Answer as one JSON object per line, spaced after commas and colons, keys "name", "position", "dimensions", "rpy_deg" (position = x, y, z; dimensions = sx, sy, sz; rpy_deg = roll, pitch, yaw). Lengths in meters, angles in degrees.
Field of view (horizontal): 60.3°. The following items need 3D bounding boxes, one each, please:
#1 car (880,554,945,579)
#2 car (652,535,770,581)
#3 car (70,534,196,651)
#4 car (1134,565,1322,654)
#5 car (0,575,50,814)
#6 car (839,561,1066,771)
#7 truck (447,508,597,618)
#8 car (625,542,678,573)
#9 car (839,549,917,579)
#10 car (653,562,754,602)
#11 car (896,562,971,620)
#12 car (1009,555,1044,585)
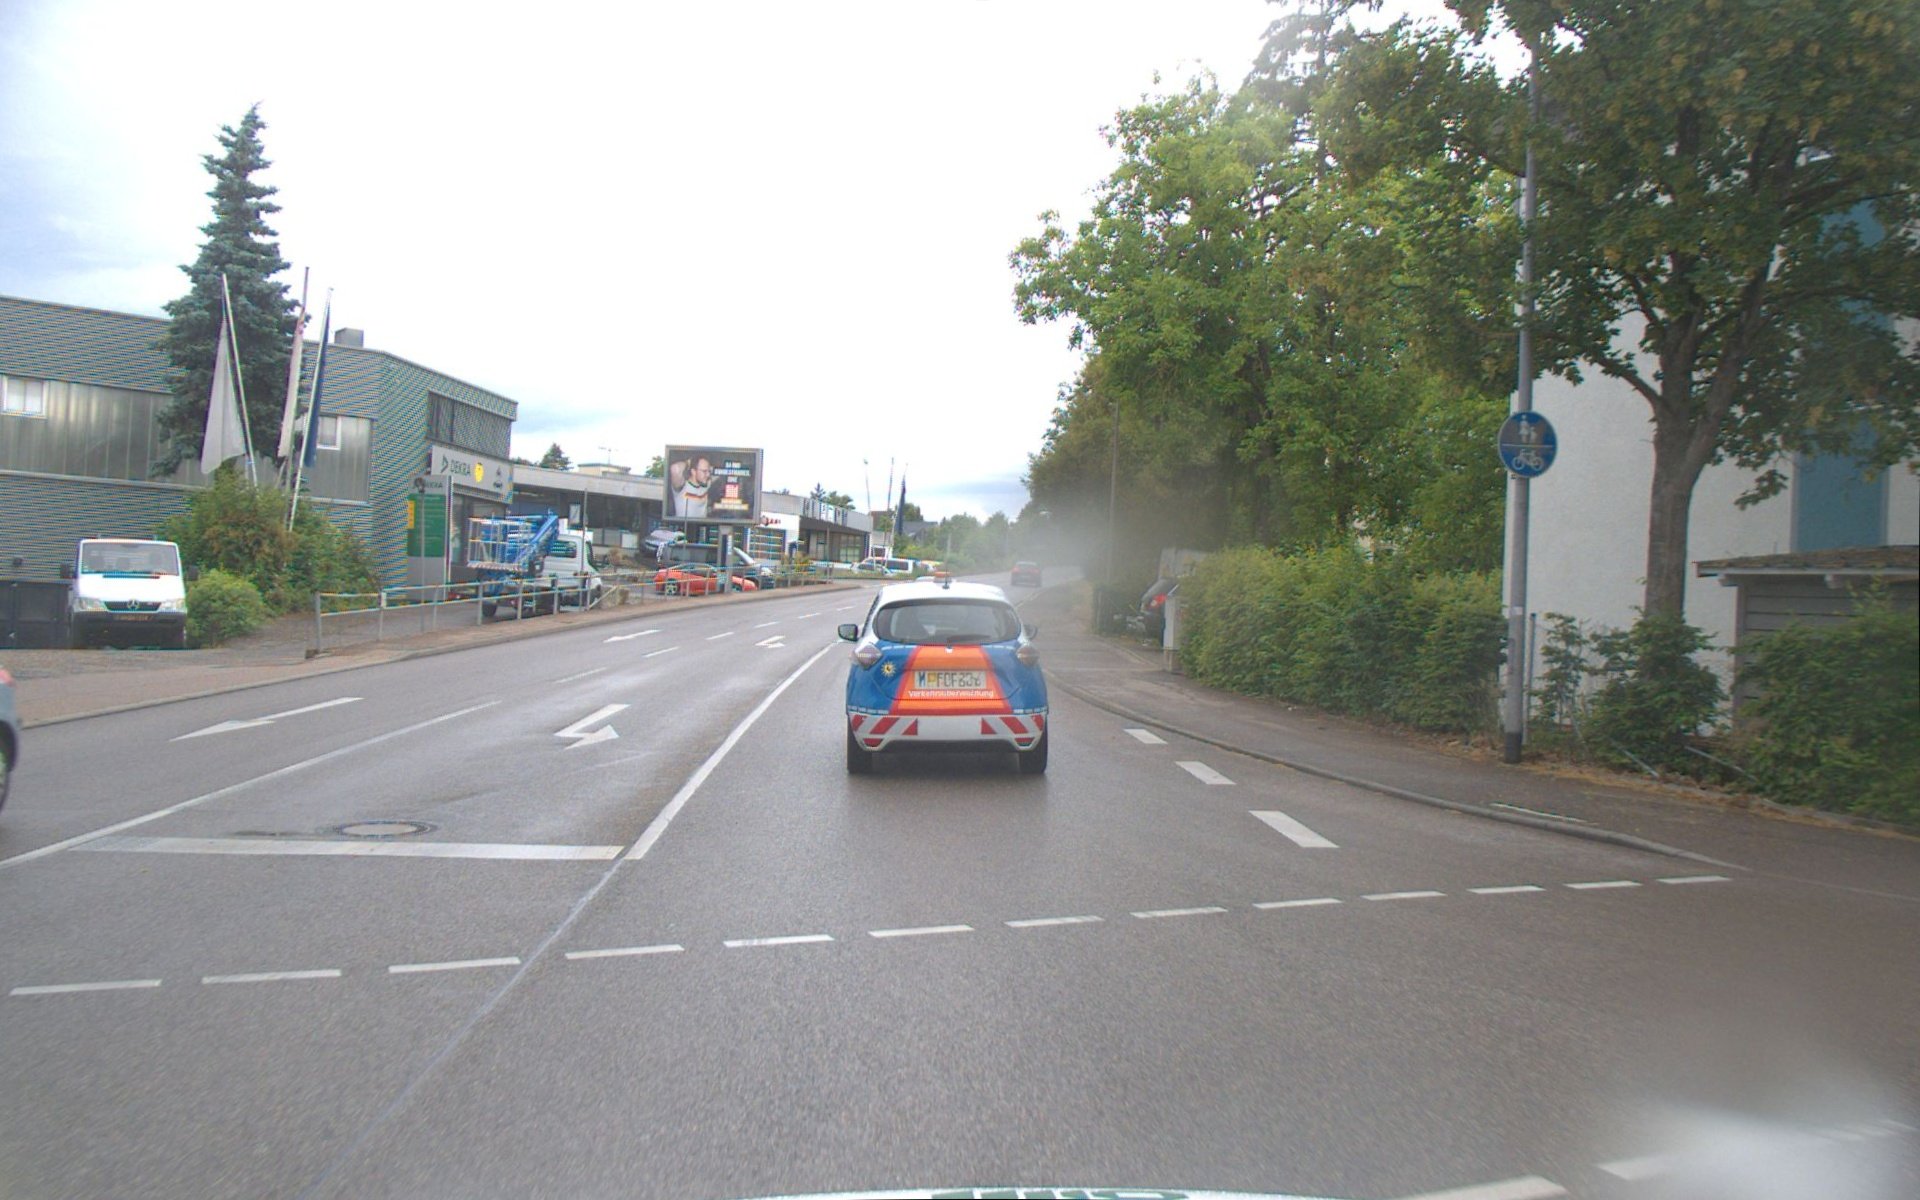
{"name": "car", "position": [-3.636, -2.533, 126.686], "dimensions": [4.700, 1.652, 1.799], "rpy_deg": [3, 0, -27]}
{"name": "car", "position": [-10.491, -1.747, 69.860], "dimensions": [4.660, 1.652, 1.814], "rpy_deg": [3, 0, -1]}
{"name": "car", "position": [-15.730, -0.185, 31.395], "dimensions": [1.971, 2.029, 3.964], "rpy_deg": [2, 1, -28]}
{"name": "car", "position": [5.880, 0.182, 36.666], "dimensions": [3.903, 1.753, 2.001], "rpy_deg": [2, 1, 4]}
{"name": "car", "position": [-6.424, 0.571, 8.564], "dimensions": [1.555, 1.428, 3.704], "rpy_deg": [2, 1, -5]}
{"name": "car", "position": [-0.198, 0.545, 14.981], "dimensions": [1.712, 1.609, 3.996], "rpy_deg": [2, -1, -5]}
{"name": "truck", "position": [-11.241, -0.951, 42.927], "dimensions": [1.952, 2.583, 5.562], "rpy_deg": [3, 1, 4]}
{"name": "car", "position": [-17.797, -2.443, 95.684], "dimensions": [1.557, 1.542, 4.003], "rpy_deg": [3, 0, 12]}
{"name": "car", "position": [-5.267, -2.327, 106.355], "dimensions": [4.700, 1.652, 1.799], "rpy_deg": [3, 0, -27]}
{"name": "car", "position": [-10.352, -0.702, 66.804], "dimensions": [3.914, 1.400, 1.810], "rpy_deg": [3, 0, -10]}
{"name": "car", "position": [-0.754, -0.281, 50.117], "dimensions": [1.952, 1.601, 4.002], "rpy_deg": [2, 1, 2]}
{"name": "car", "position": [4.117, -1.821, 101.575], "dimensions": [1.952, 1.713, 4.002], "rpy_deg": [2, 0, 5]}
